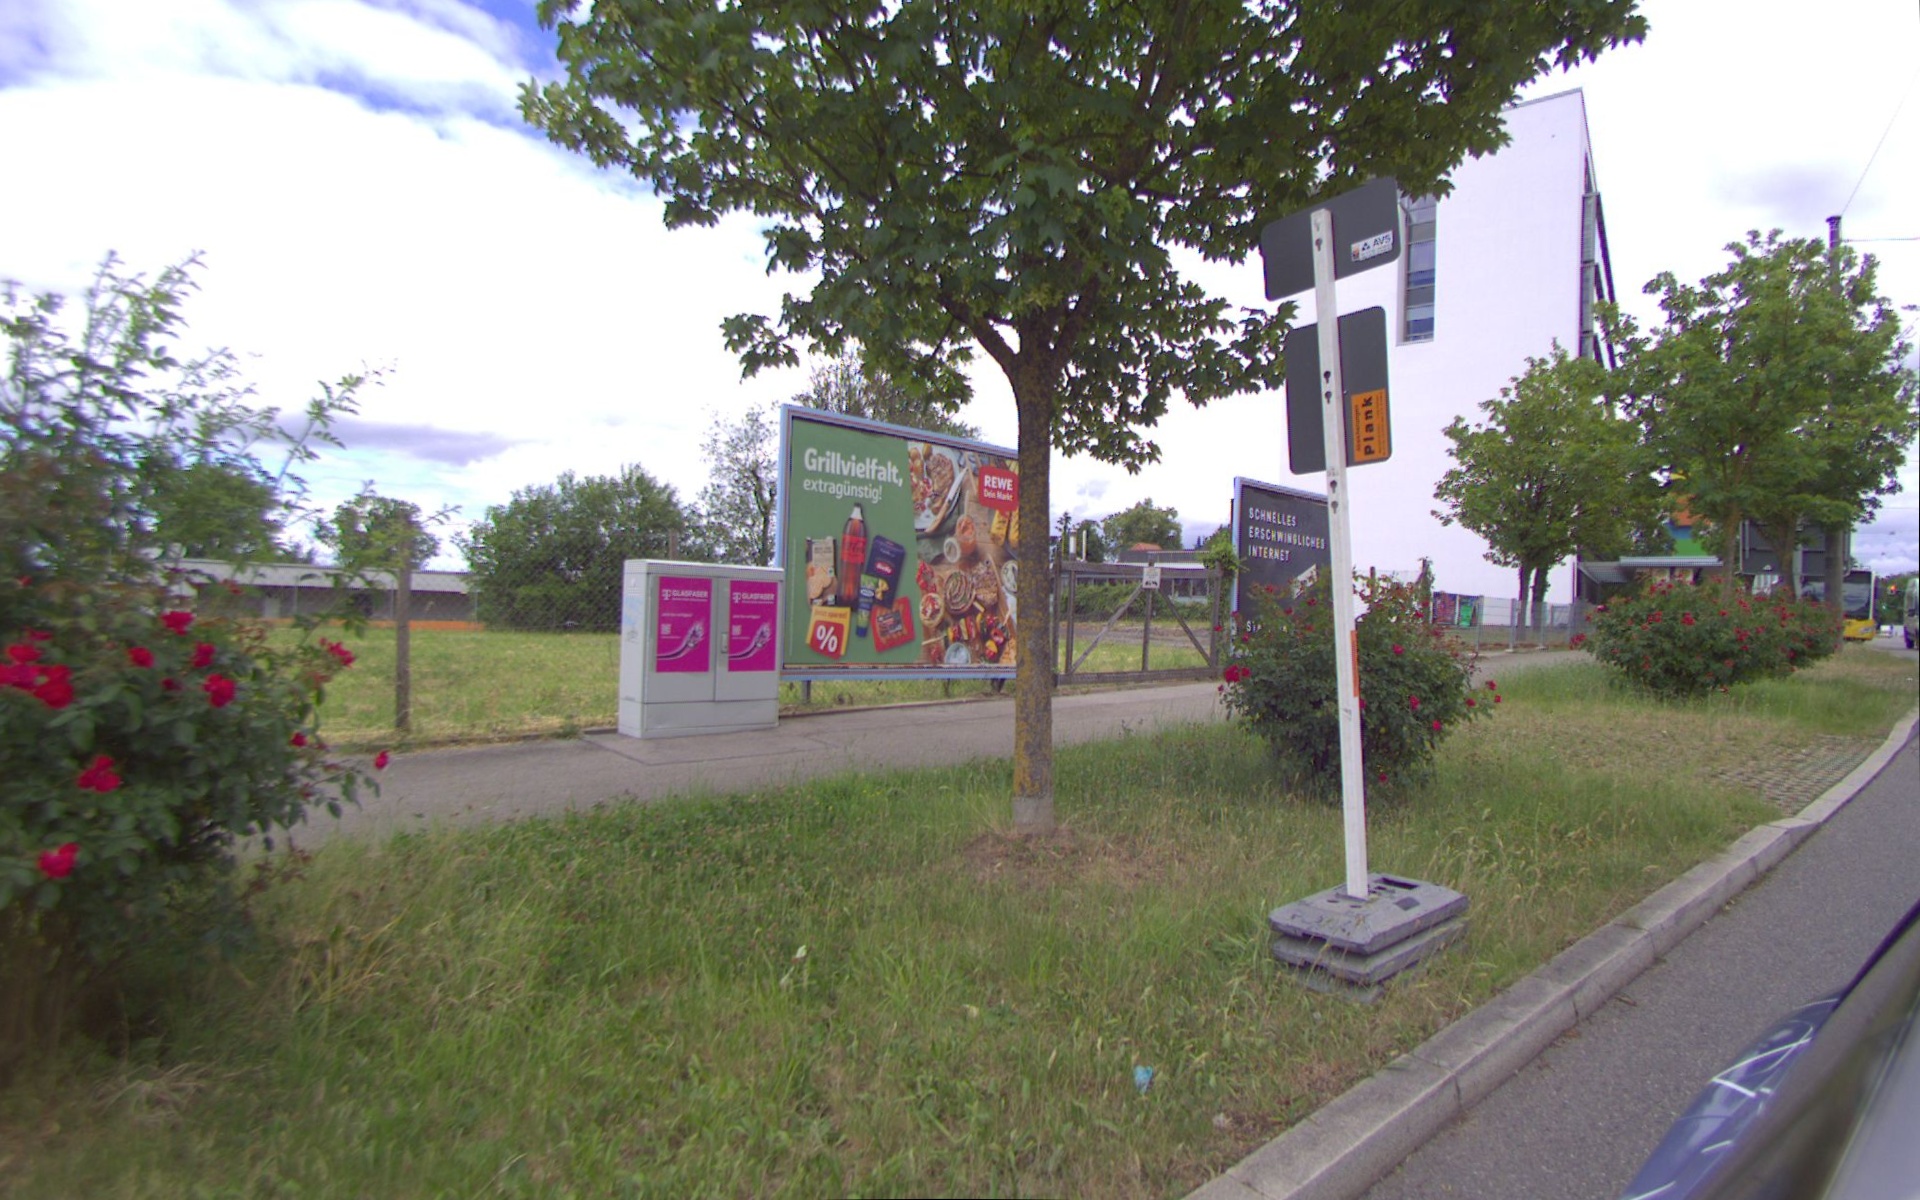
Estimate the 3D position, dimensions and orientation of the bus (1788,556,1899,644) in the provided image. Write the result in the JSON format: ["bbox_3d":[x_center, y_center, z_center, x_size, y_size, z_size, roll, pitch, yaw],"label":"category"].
[{"bbox_3d":[36.844,0.029,42.474,2.707,3.203,9.002,4,2,37],"label":"bus"}]

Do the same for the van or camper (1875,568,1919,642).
[{"bbox_3d":[37.249,0.235,38.409,2.262,2.740,6.920,1,0,30],"label":"van or camper"}]

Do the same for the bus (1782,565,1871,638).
[{"bbox_3d":[42.247,0.115,49.544,2.708,3.147,8.747,4,1,38],"label":"bus"}]
